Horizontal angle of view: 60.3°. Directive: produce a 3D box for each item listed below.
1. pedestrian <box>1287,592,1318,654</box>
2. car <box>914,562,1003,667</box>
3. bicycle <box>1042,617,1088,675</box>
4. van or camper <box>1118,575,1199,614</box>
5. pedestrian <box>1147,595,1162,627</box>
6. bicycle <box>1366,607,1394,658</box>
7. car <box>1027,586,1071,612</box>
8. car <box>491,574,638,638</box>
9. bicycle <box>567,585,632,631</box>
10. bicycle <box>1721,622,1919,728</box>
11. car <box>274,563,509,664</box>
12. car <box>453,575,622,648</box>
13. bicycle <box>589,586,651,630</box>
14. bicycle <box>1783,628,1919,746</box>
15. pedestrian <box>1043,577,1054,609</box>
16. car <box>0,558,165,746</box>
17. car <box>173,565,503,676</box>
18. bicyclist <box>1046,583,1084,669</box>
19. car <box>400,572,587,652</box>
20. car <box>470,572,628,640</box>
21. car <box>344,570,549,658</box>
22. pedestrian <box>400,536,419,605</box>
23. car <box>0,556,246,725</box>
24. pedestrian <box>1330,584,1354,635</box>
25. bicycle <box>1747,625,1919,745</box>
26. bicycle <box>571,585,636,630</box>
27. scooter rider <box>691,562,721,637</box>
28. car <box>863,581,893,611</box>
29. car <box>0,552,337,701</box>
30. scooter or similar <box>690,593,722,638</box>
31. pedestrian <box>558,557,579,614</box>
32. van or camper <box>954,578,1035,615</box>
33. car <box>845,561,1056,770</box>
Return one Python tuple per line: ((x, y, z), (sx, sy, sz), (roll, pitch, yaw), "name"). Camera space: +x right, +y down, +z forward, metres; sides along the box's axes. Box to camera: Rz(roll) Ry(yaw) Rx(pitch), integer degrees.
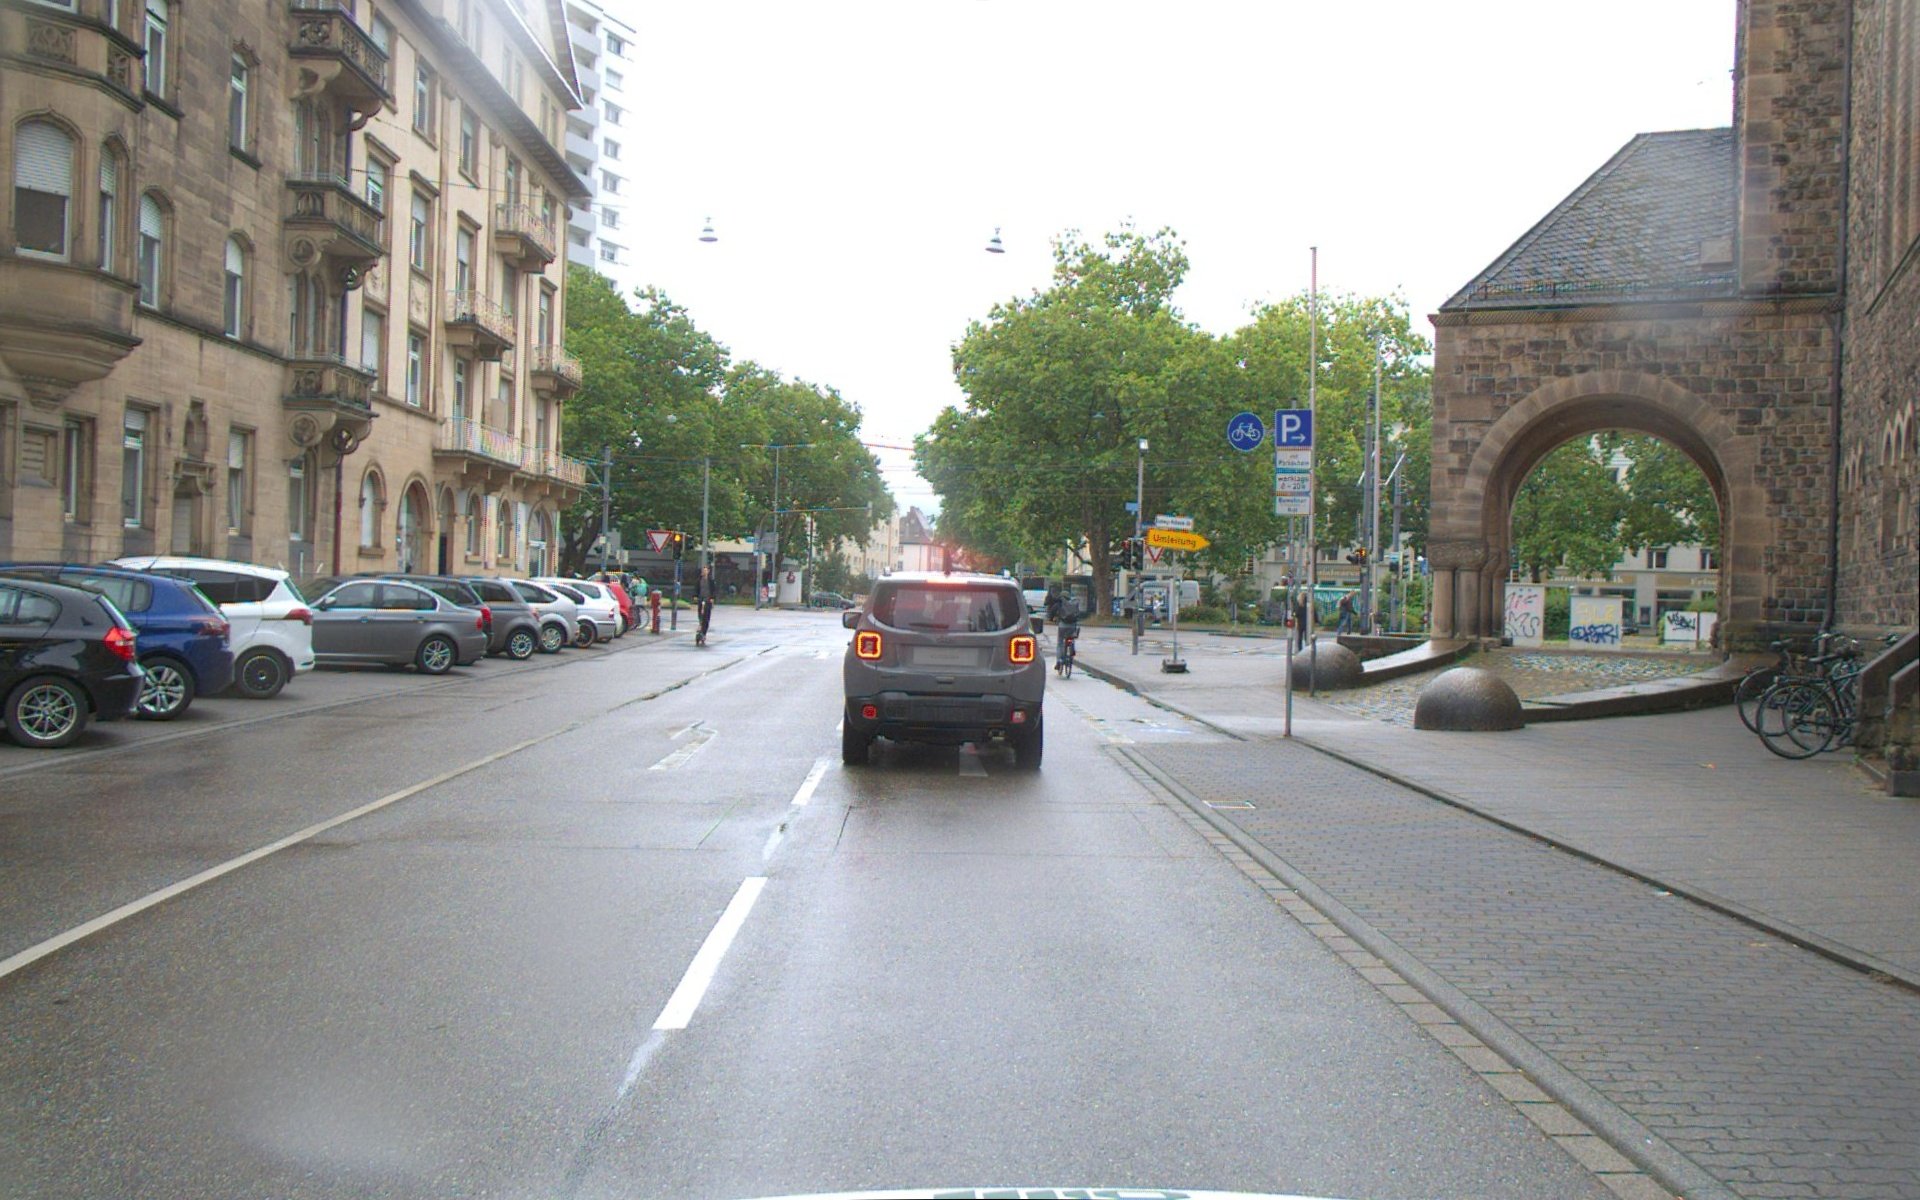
((9.356, 0.631, 45.244), (0.766, 1.674, 0.655), (1, 0, 8), "pedestrian")
((-0.037, 0.269, 34.964), (1.734, 2.049, 4.000), (1, 0, 0), "car")
((2.032, 0.878, 32.264), (0.677, 1.039, 2.657), (1, 0, -1), "bicycle")
((13.192, -0.388, 110.186), (5.149, 2.356, 2.091), (2, 1, 4), "van or camper")
((9.992, 0.582, 84.909), (0.600, 1.631, 0.494), (1, 0, 24), "pedestrian")
((10.180, 0.776, 40.133), (0.322, 1.174, 2.076), (1, 0, 5), "bicycle")
((7.266, -0.076, 134.861), (3.363, 2.049, 1.549), (1, 0, 13), "car")
((-10.423, 0.162, 43.636), (3.370, 1.585, 1.682), (1, 0, -39), "car")
((-10.316, 0.229, 47.393), (1.728, 1.288, 0.522), (1, 0, -2), "bicycle")
((9.521, 0.816, 18.220), (1.942, 1.124, 0.692), (0, -1, 11), "bicycle")
((-9.810, 0.233, 28.654), (3.519, 1.626, 1.583), (1, 0, -40), "car")
((-9.657, 0.268, 37.901), (3.370, 1.585, 1.682), (1, 0, -39), "car")
((-10.382, 0.236, 50.531), (1.728, 1.288, 0.608), (1, 0, -2), "bicycle")
((9.048, 0.841, 16.192), (1.672, 1.131, 0.562), (-1, -1, 14), "bicycle")
((5.791, -0.455, 108.232), (0.637, 2.049, 0.483), (1, 0, 12), "pedestrian")
((-8.965, 0.403, 13.932), (3.987, 1.538, 1.781), (1, 0, -30), "car")
((-9.562, 0.306, 25.671), (4.512, 1.572, 1.662), (1, 0, -44), "car")
((2.041, 0.491, 32.230), (0.673, 1.646, 0.883), (1, 0, -1), "bicyclist")
((-9.753, 0.262, 34.646), (3.370, 1.585, 1.682), (1, 0, -39), "car")
((-10.094, 0.165, 40.687), (3.370, 1.585, 1.682), (1, 0, -39), "car")
((-9.792, 0.265, 31.634), (3.370, 1.585, 1.629), (1, 0, -40), "car")
((-14.896, -0.798, 44.754), (0.359, 1.854, 0.347), (1, -1, -2), "pedestrian")
((-9.378, 0.374, 16.487), (3.987, 1.601, 1.781), (1, 0, -30), "car")
((13.516, 0.334, 58.483), (0.769, 1.790, 0.946), (1, 0, 15), "pedestrian")
((8.390, 0.774, 15.283), (1.942, 1.072, 0.513), (-1, -1, 14), "bicycle")
((-10.463, 0.218, 48.624), (1.774, 1.288, 0.498), (1, 0, -2), "bicycle")
((-6.742, -0.026, 43.917), (0.696, 1.969, 0.503), (1, 0, -3), "scooter rider")
((-4.987, -0.259, 99.963), (1.687, 1.769, 3.727), (1, 0, -4), "car")
((-9.595, 0.286, 19.299), (4.007, 1.583, 1.772), (1, 0, -41), "car")
((-6.749, 0.402, 43.975), (0.686, 1.185, 1.384), (1, 0, -2), "scooter or similar")
((-14.132, -0.528, 59.720), (0.556, 2.049, 0.654), (1, 0, 0), "pedestrian")
((2.938, -0.332, 141.073), (6.400, 2.963, 2.492), (1, 0, 27), "van or camper")
((-0.109, 0.529, 15.660), (1.739, 1.716, 3.847), (1, 0, -1), "car")
